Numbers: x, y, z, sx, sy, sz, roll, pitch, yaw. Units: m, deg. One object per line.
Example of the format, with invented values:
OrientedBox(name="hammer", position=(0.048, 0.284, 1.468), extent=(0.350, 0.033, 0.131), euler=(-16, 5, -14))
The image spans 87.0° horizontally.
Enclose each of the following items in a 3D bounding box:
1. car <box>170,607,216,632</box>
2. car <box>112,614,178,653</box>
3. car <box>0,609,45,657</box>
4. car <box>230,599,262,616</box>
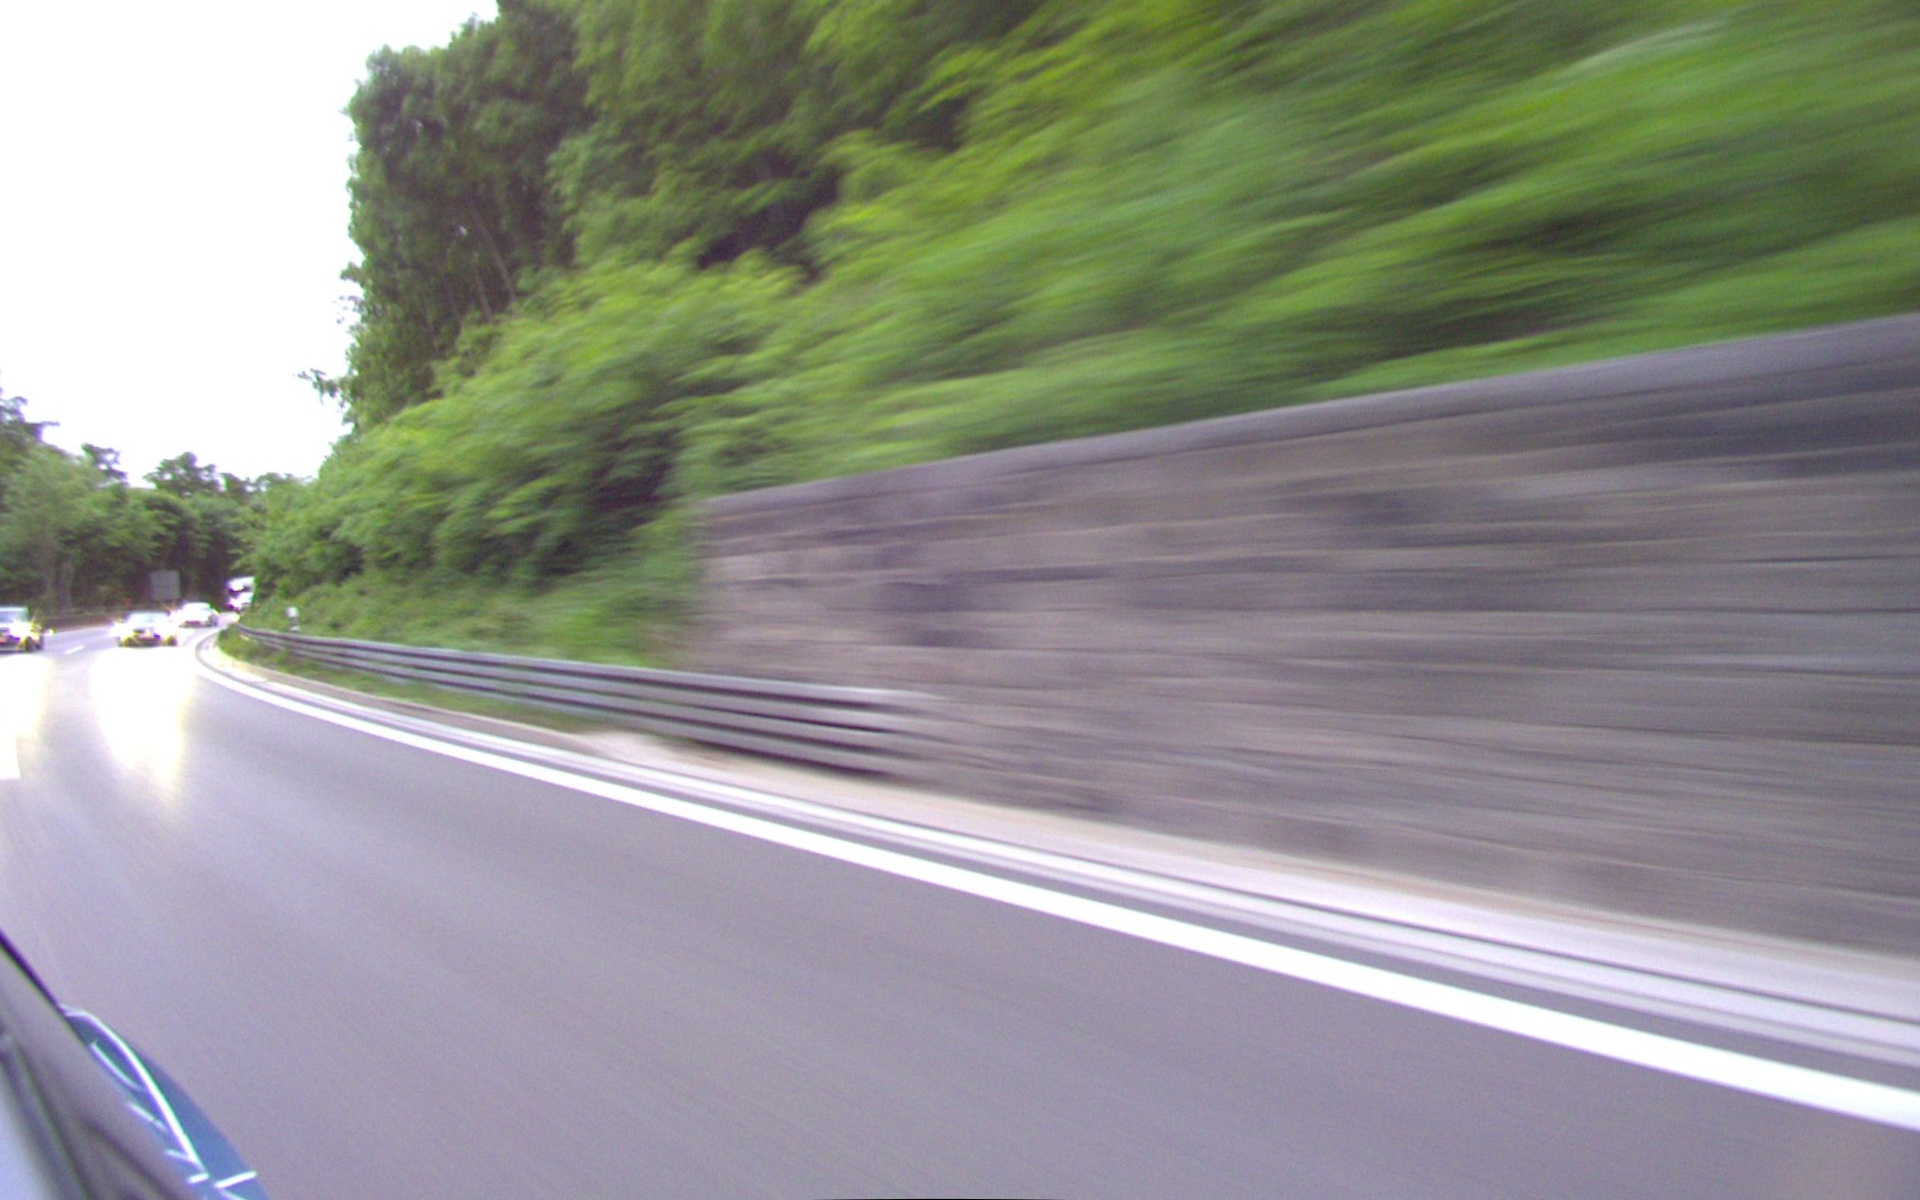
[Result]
OrientedBox(name="car", position=(-49.264, 1.213, 65.073), extent=(1.966, 1.519, 4.011), euler=(-1, 0, -32))
OrientedBox(name="car", position=(-34.244, 1.357, 42.609), extent=(1.967, 1.519, 4.009), euler=(0, -1, -36))
OrientedBox(name="car", position=(-35.200, 1.208, 37.158), extent=(1.967, 1.652, 4.009), euler=(-1, 0, -37))
OrientedBox(name="car", position=(-68.213, 0.718, 96.742), extent=(1.966, 1.630, 4.013), euler=(-1, 0, -28))
